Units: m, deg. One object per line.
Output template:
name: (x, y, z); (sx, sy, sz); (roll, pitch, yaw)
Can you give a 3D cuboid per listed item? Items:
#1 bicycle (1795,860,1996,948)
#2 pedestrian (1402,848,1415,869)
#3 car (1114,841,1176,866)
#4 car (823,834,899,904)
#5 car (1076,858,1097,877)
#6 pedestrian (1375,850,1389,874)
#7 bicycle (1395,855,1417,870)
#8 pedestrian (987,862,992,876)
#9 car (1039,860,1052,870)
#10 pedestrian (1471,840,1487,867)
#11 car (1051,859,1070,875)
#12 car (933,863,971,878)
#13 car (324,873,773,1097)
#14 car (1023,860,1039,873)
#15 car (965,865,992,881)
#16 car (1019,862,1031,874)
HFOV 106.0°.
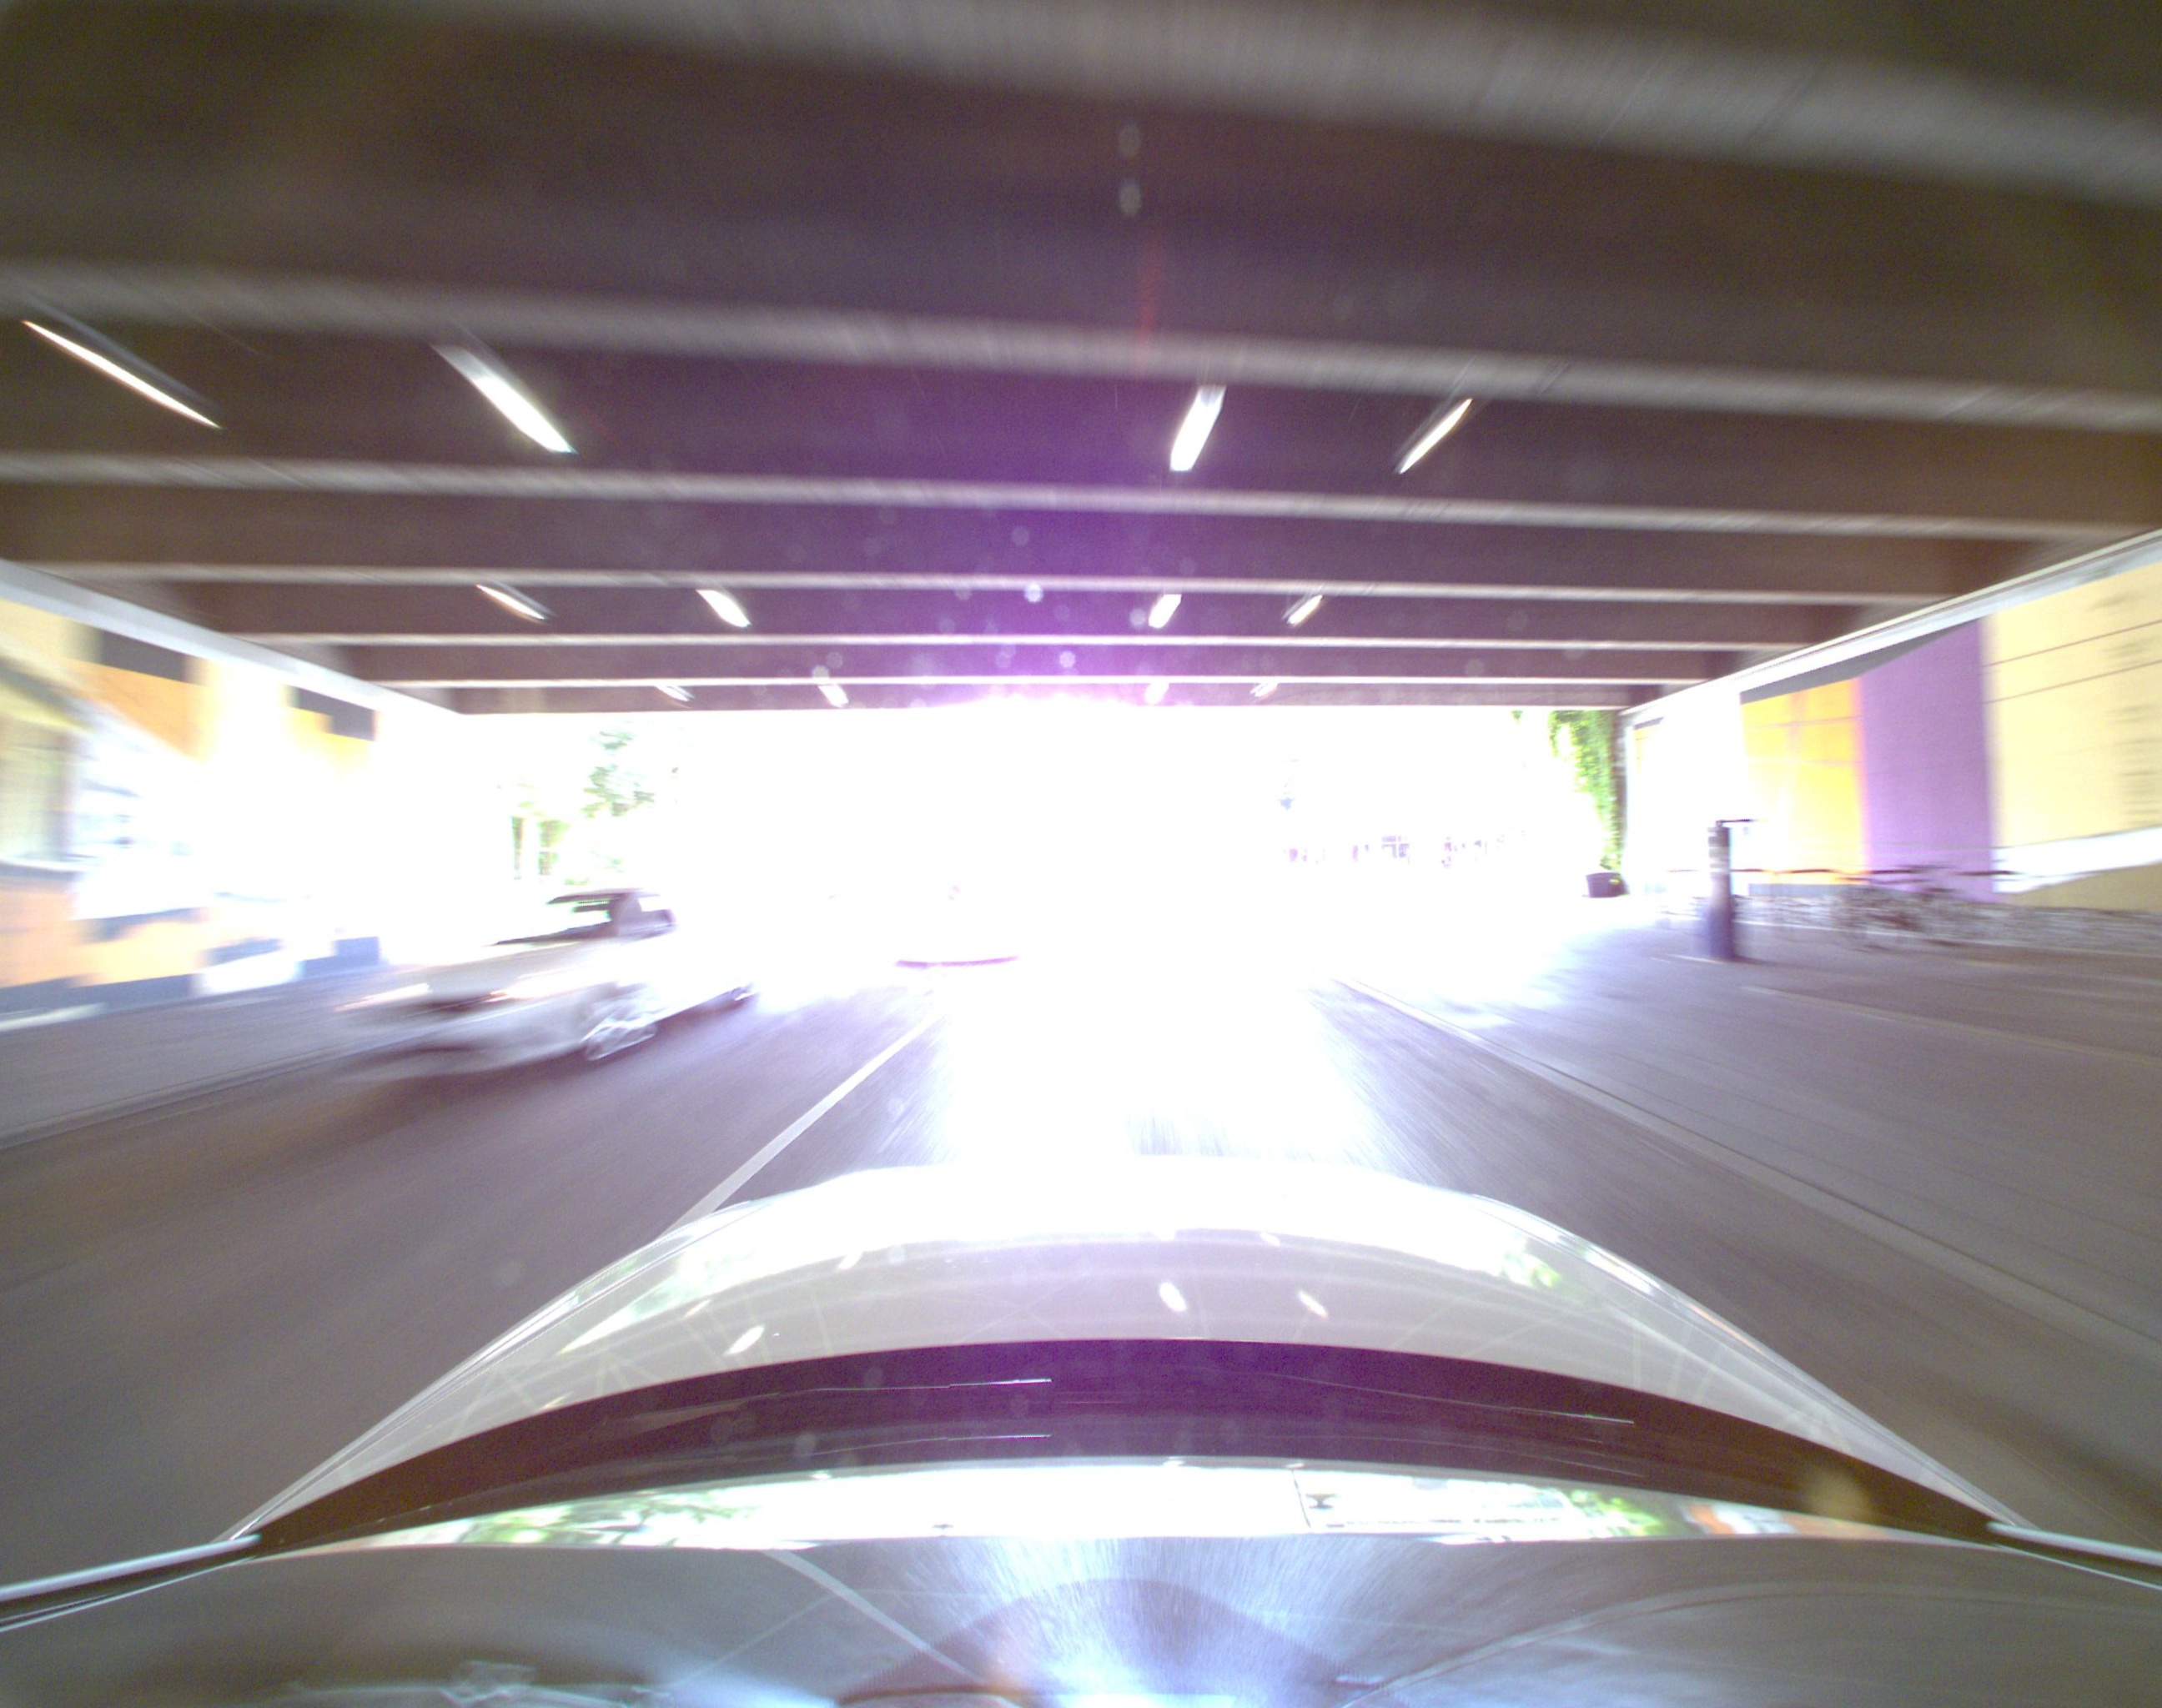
bicycle: (9.600, 0.577, 9.619); (1.942, 0.904, 0.506); (-3, -1, -5)
pedestrian: (26.032, 0.368, 64.685); (0.696, 1.674, 0.615); (-1, -1, -12)
car: (4.596, -0.018, 58.995); (2.008, 1.688, 4.644); (-1, 0, -33)
car: (-8.931, 0.577, 33.569); (1.964, 2.607, 5.920); (-1, -1, -5)
car: (0.535, 1.320, 81.076); (1.817, 1.731, 4.236); (-3, -1, 3)
pedestrian: (21.444, 0.598, 57.996); (0.699, 1.674, 0.612); (-1, -1, -24)
bicycle: (25.758, 0.642, 64.534); (1.523, 1.168, 0.499); (-1, -2, 32)
pedestrian: (-11.171, 1.883, 99.724); (0.550, 1.686, 0.515); (-1, -1, -4)
car: (-5.094, 1.525, 116.038); (1.706, 1.354, 3.994); (-1, 0, -4)
pedestrian: (27.793, -0.053, 56.859); (0.615, 1.818, 0.696); (-5, 0, -6)
car: (-2.141, 1.339, 85.385); (1.819, 1.519, 4.230); (-2, -1, -1)
car: (-16.247, 2.048, 102.558); (4.428, 1.776, 1.989); (-1, -1, -17)
car: (-4.558, 0.985, 7.783); (1.666, 1.447, 3.852); (-3, 0, 0)
car: (-5.485, 1.384, 89.520); (1.706, 1.354, 3.994); (-1, 0, -4)
car: (-8.884, 1.620, 71.013); (1.704, 1.245, 4.412); (-2, 0, 1)
car: (-8.322, 2.039, 121.590); (1.706, 1.712, 3.994); (-1, 0, -4)
